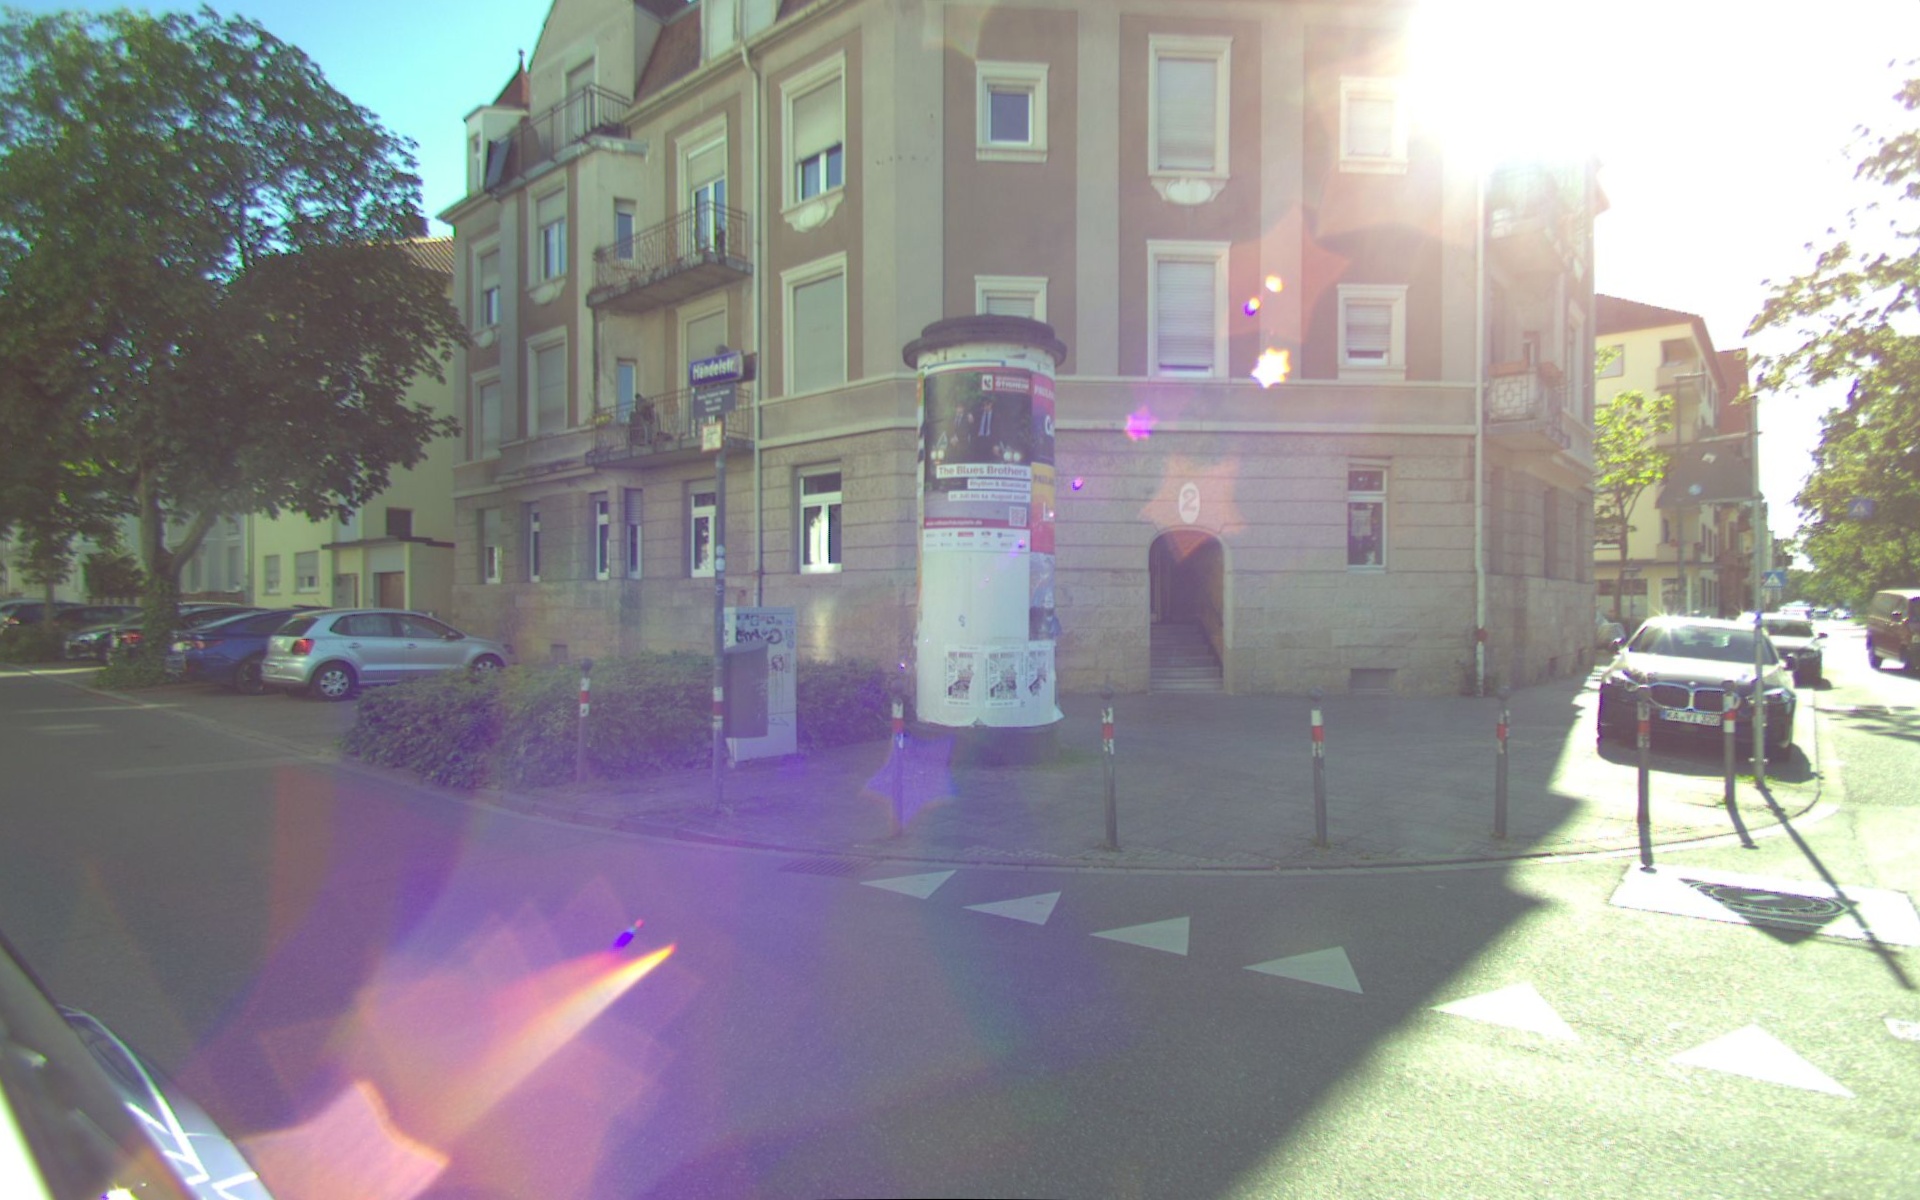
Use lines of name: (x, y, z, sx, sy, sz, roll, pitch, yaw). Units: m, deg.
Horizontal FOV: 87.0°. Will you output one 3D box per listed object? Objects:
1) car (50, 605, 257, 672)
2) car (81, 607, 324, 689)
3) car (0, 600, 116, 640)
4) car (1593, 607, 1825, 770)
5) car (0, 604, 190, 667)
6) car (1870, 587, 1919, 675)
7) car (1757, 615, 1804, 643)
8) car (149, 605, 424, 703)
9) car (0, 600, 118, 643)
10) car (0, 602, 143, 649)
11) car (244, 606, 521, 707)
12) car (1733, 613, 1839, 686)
car: (-20.279, 0.910, 25.615, 1.684, 1.506, 3.757, -1, 0, 27)
car: (-15.800, 0.933, 21.311, 1.684, 1.506, 3.757, -1, 0, 27)
car: (-36.318, 0.757, 40.582, 1.688, 1.506, 3.489, -1, 0, 35)
car: (8.837, 0.890, 12.005, 1.865, 1.494, 3.964, 3, 1, 37)
car: (-23.060, 0.889, 26.931, 1.684, 1.506, 3.757, -1, 0, 27)
car: (23.550, 0.736, 24.152, 1.891, 1.975, 4.833, 1, 0, 32)
car: (38.924, 1.366, 48.061, 1.679, 1.271, 3.751, -1, -1, 38)
car: (-11.842, 0.862, 17.987, 1.690, 1.506, 3.743, -1, 0, 37)
car: (-34.505, 0.793, 38.516, 1.688, 1.506, 3.489, -1, 0, 35)
car: (-31.160, 0.836, 35.383, 1.688, 1.506, 3.746, -1, 0, 35)
car: (-9.674, 0.866, 17.181, 1.690, 1.455, 3.743, -1, 0, 37)
car: (18.807, 1.059, 23.177, 1.679, 1.426, 3.855, 3, 1, 37)
